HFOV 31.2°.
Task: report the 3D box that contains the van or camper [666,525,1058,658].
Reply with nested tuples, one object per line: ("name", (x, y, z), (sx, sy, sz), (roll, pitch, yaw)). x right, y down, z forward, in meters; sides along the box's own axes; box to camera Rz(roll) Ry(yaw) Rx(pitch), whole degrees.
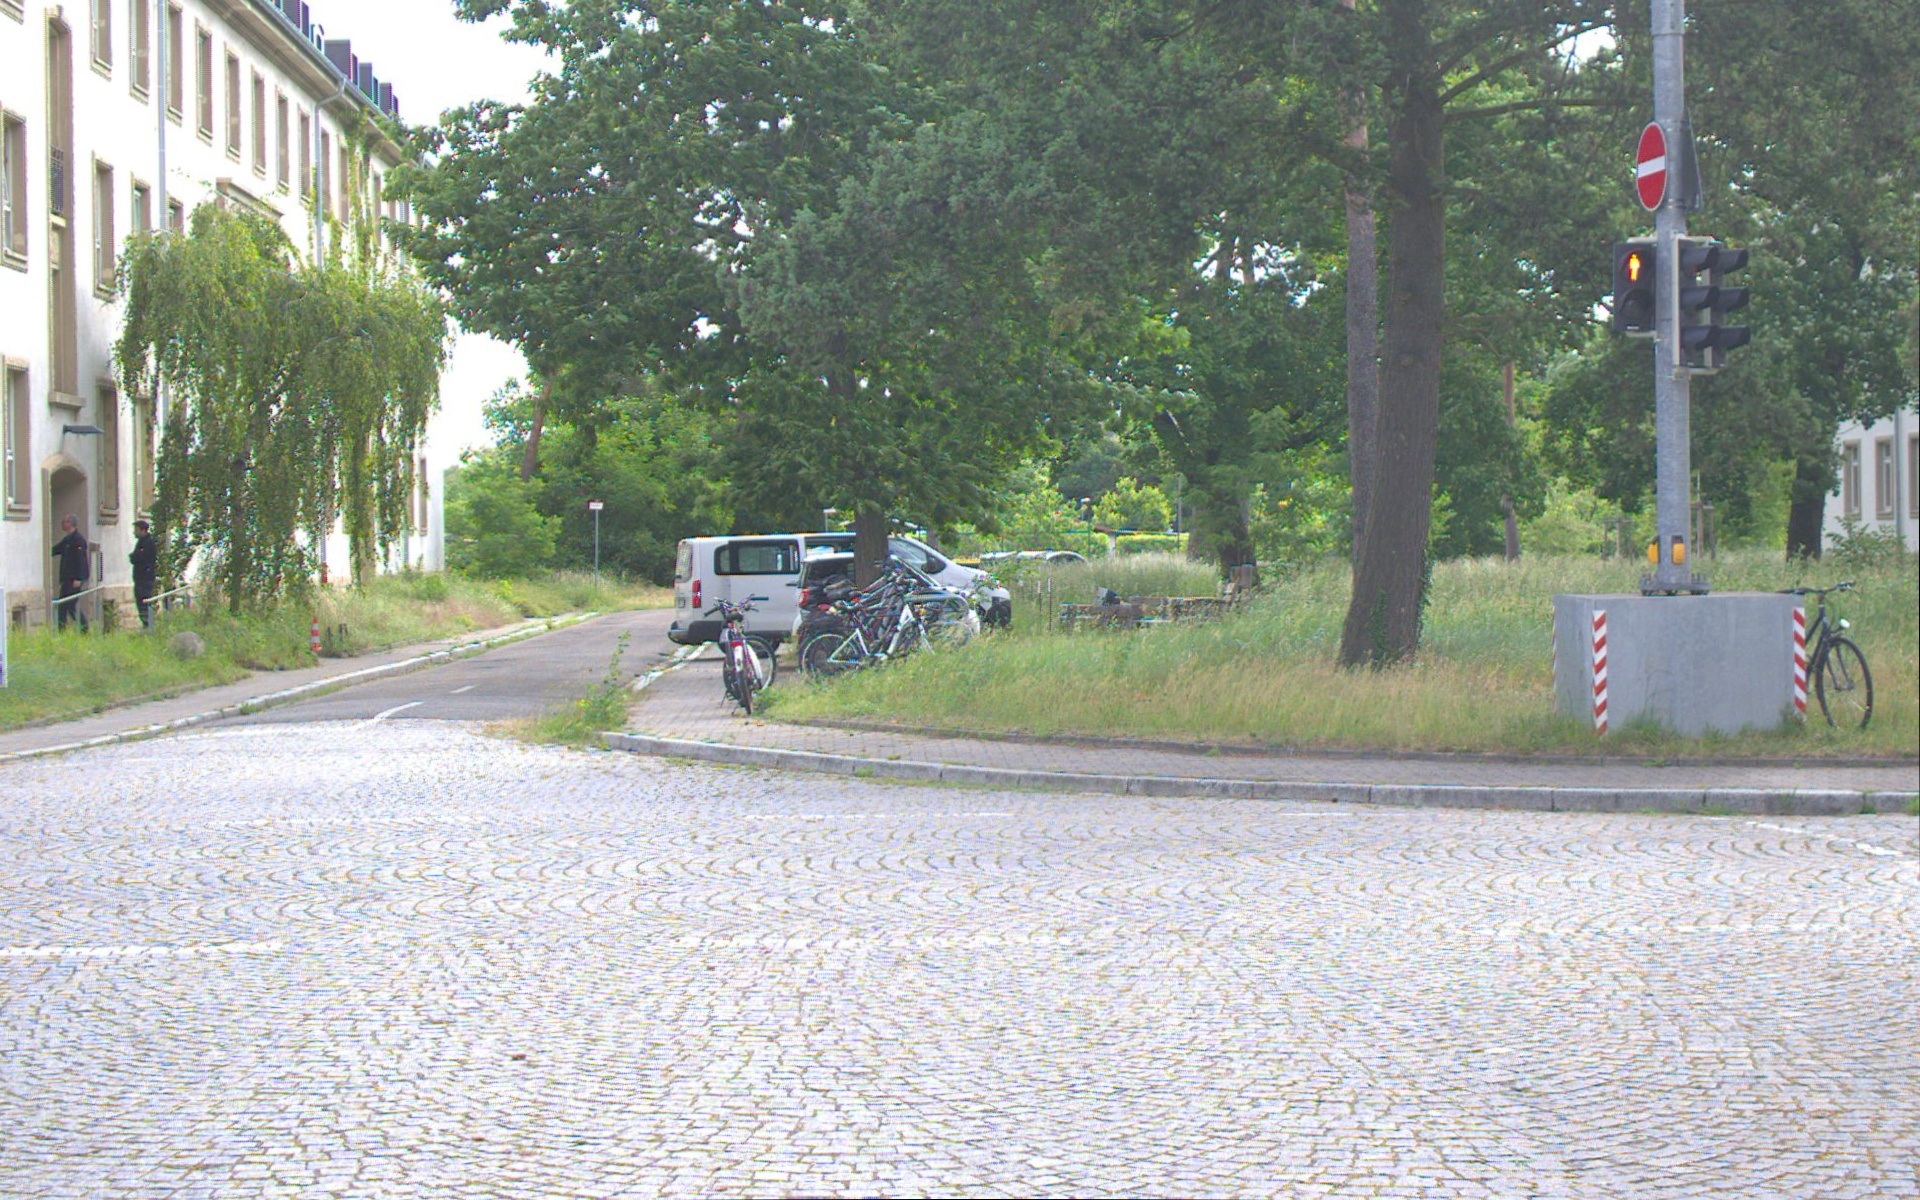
("van or camper", (-1.551, -0.159, 53.587), (5.740, 1.950, 2.238), (-1, 1, -14))

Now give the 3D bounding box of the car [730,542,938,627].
("car", (-2.490, -0.308, 67.377), (3.986, 1.594, 1.704), (-1, 1, -4))

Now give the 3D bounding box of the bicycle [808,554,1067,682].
("bicycle", (-0.260, 0.191, 37.898), (2.802, 1.367, 0.951), (-1, 1, -3))

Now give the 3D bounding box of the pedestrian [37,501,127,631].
("pedestrian", (-12.798, -0.492, 50.144), (1.194, 1.863, 1.550), (1, 0, -12))

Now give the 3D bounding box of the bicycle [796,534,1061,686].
("bicycle", (-0.352, 0.101, 36.963), (2.802, 1.578, 0.951), (-1, 1, -3))

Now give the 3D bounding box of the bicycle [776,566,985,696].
("bicycle", (-0.828, 0.309, 35.468), (2.112, 1.302, 0.874), (-1, 1, -3))

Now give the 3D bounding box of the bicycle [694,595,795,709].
("bicycle", (-2.001, 0.469, 32.053), (0.900, 0.993, 1.979), (-1, 1, -3))

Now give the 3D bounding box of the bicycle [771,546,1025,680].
("bicycle", (-0.664, 0.132, 36.083), (2.619, 1.362, 0.874), (-1, 1, -3))

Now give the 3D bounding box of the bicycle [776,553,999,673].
("bicycle", (-0.859, 0.143, 40.272), (2.567, 1.367, 0.951), (-1, 1, -3))

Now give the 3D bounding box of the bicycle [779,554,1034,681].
("bicycle", (-0.608, 0.185, 38.422), (2.802, 1.367, 0.951), (-1, 1, -3))

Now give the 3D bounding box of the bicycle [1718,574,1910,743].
("bicycle", (5.830, 0.378, 23.570), (0.644, 1.059, 1.834), (-4, 1, -5))

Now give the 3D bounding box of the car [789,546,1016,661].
("car", (-0.864, 0.047, 50.080), (3.224, 1.615, 1.938), (1, 0, -3))

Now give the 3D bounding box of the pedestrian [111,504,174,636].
("pedestrian", (-12.196, -0.447, 51.291), (0.865, 1.925, 0.837), (1, 0, -13))

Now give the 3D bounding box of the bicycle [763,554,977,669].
("bicycle", (-1.104, 0.131, 41.943), (2.567, 1.367, 0.951), (-1, 1, -3))

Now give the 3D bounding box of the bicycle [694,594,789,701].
("bicycle", (-2.160, 0.456, 34.141), (0.727, 0.993, 1.979), (-1, 1, 2))

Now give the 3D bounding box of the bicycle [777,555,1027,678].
("bicycle", (-0.673, 0.179, 39.314), (2.802, 1.367, 0.951), (-1, 1, -3))

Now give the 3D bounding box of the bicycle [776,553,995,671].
("bicycle", (-0.906, 0.138, 41.111), (2.567, 1.367, 0.951), (-1, 1, -3))
